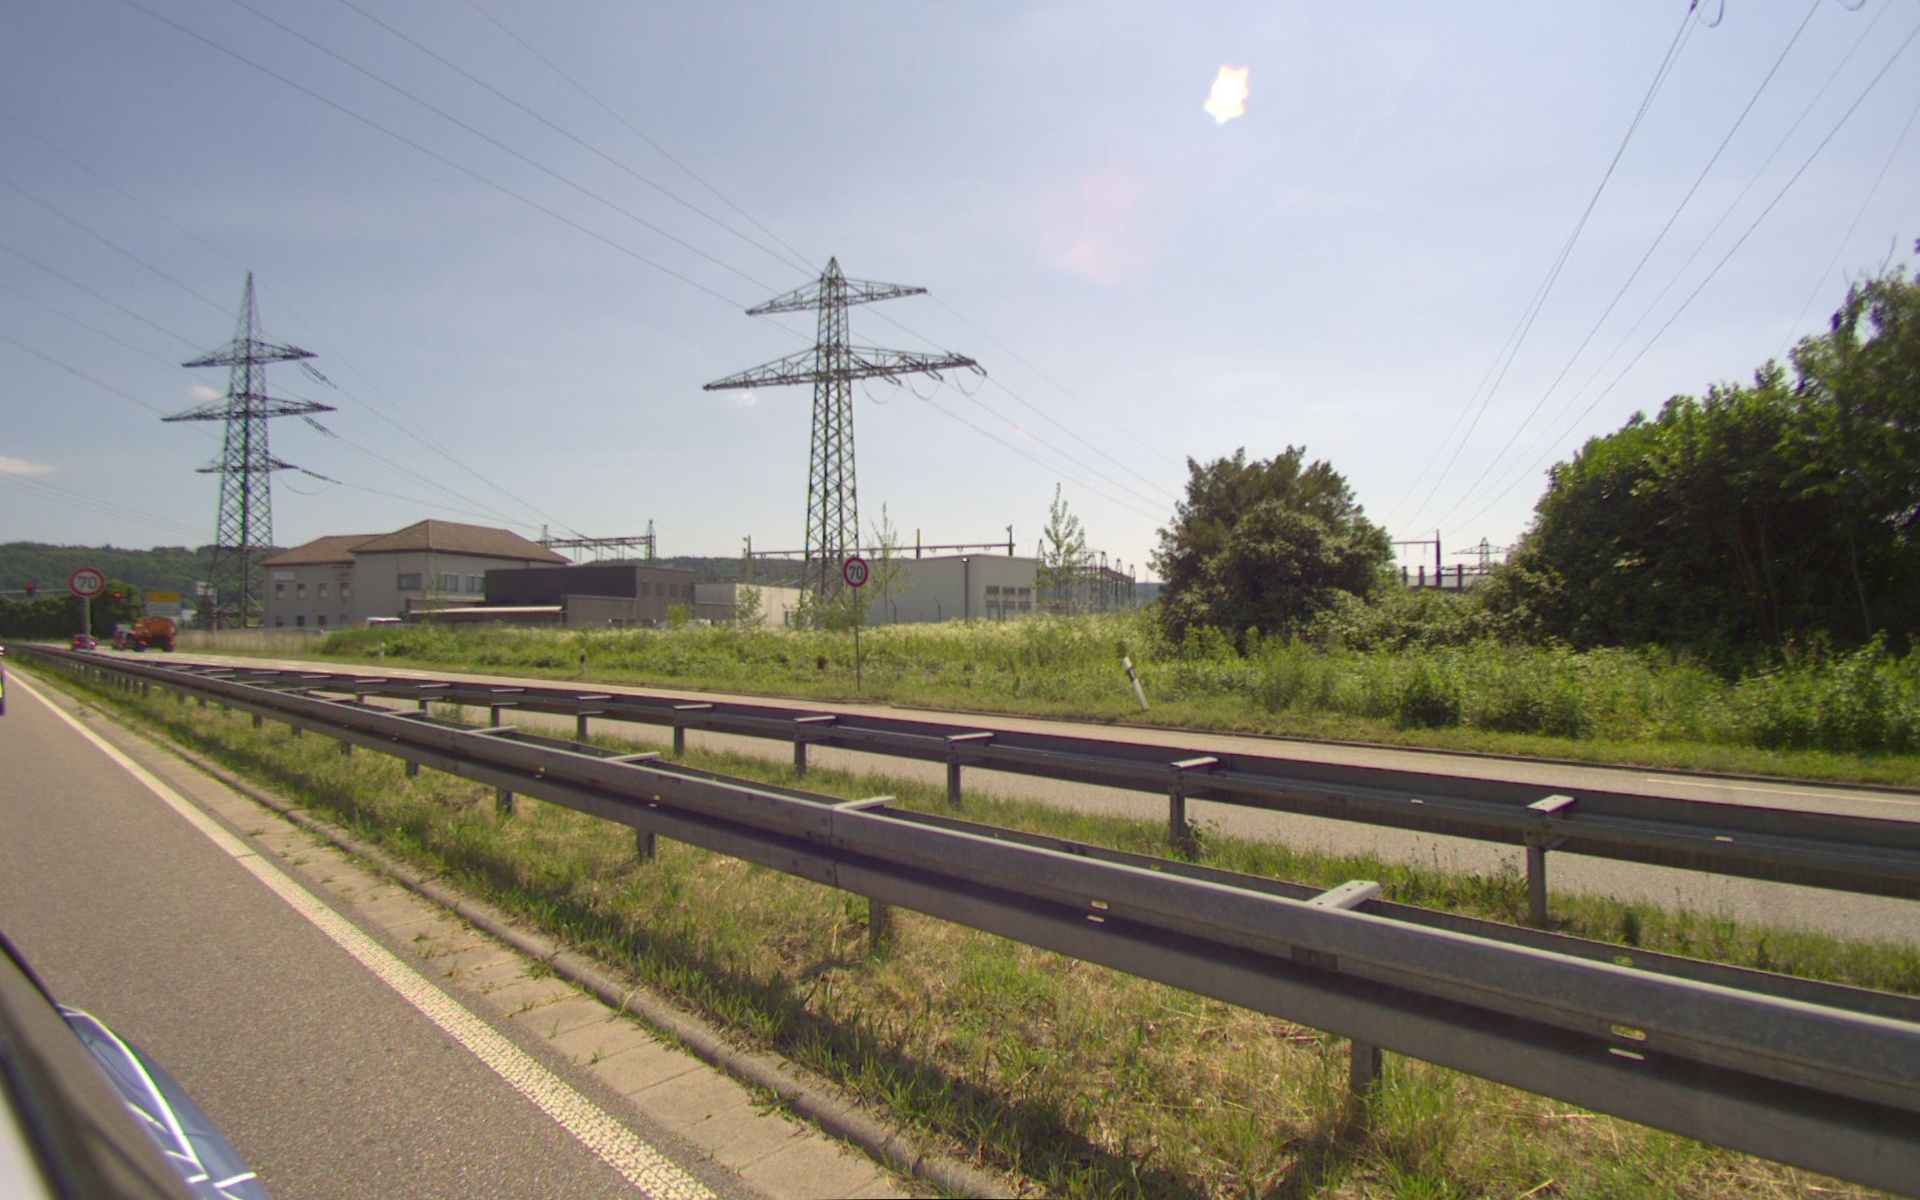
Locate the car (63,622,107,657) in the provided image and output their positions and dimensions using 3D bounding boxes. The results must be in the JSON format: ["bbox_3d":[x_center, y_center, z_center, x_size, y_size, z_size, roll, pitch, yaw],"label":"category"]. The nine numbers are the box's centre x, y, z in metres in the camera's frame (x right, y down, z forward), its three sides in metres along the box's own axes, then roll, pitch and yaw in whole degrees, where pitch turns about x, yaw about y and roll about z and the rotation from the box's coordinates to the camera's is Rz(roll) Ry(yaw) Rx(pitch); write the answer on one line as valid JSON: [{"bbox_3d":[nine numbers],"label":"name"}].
[{"bbox_3d":[-81.410,3.650,94.148,5.641,3.084,2.571,-2,-3,44],"label":"car"}]

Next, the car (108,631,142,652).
[{"bbox_3d":[-82.766,4.065,100.317,3.998,1.929,1.973,-1,0,41],"label":"car"}]

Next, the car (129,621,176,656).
[{"bbox_3d":[-72.868,3.494,91.317,5.641,3.084,2.571,-2,-3,44],"label":"car"}]
